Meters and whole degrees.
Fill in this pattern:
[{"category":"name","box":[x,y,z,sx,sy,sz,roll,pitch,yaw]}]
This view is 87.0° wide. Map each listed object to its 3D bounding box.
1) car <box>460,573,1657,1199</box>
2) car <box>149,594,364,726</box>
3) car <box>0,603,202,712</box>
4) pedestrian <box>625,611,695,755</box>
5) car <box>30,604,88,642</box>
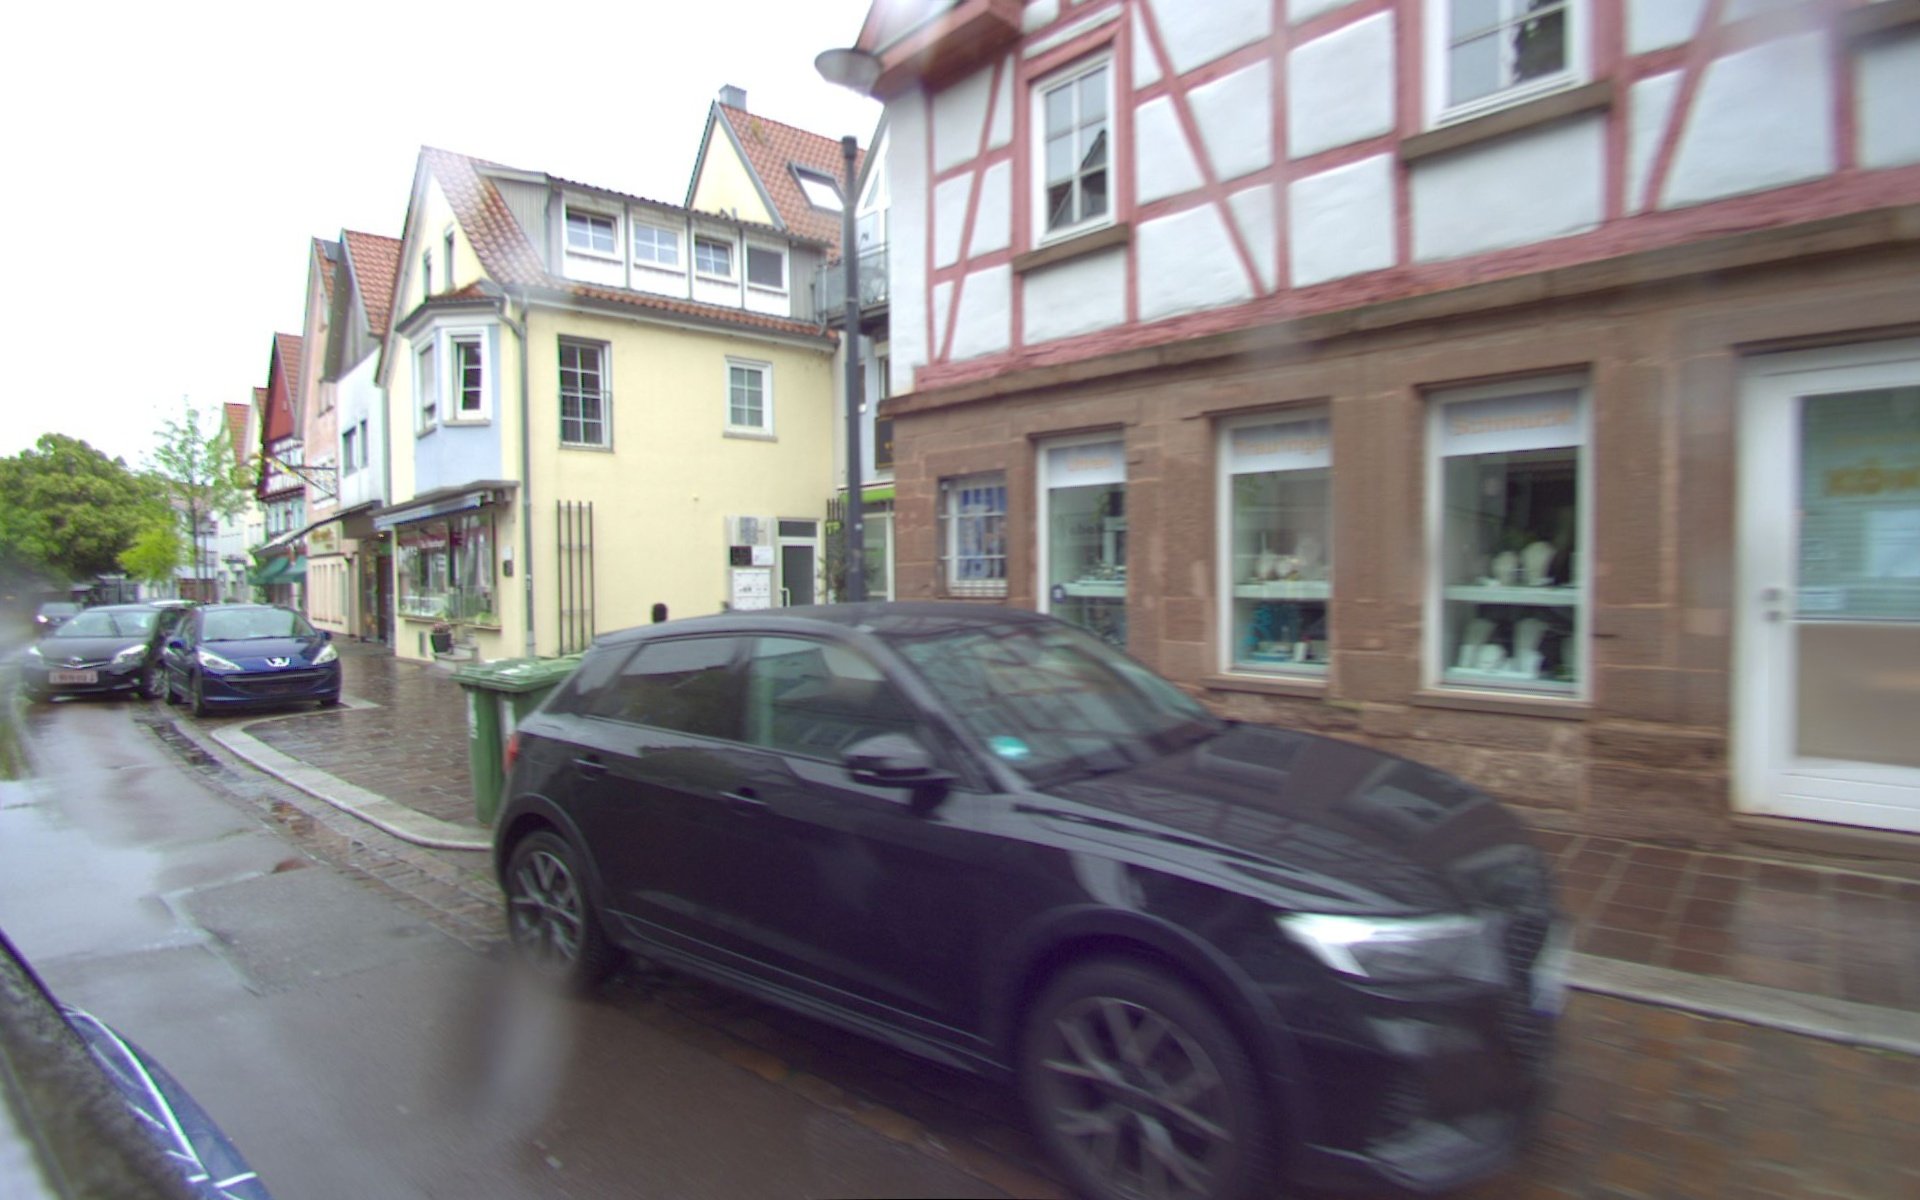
[{"category":"car","box":[0.019,0.716,3.619,3.994,1.497,1.674,-1,0,38]},{"category":"car","box":[-10.343,0.758,14.751,1.970,1.540,4.004,-5,3,-43]},{"category":"car","box":[-14.083,0.853,16.824,1.708,1.567,3.857,-1,0,-27]},{"category":"pedestrian","box":[-2.854,0.764,9.636,0.448,1.317,0.518,-1,0,-42]},{"category":"car","box":[-44.479,1.101,50.017,1.968,1.763,4.007,-1,0,-40]}]
